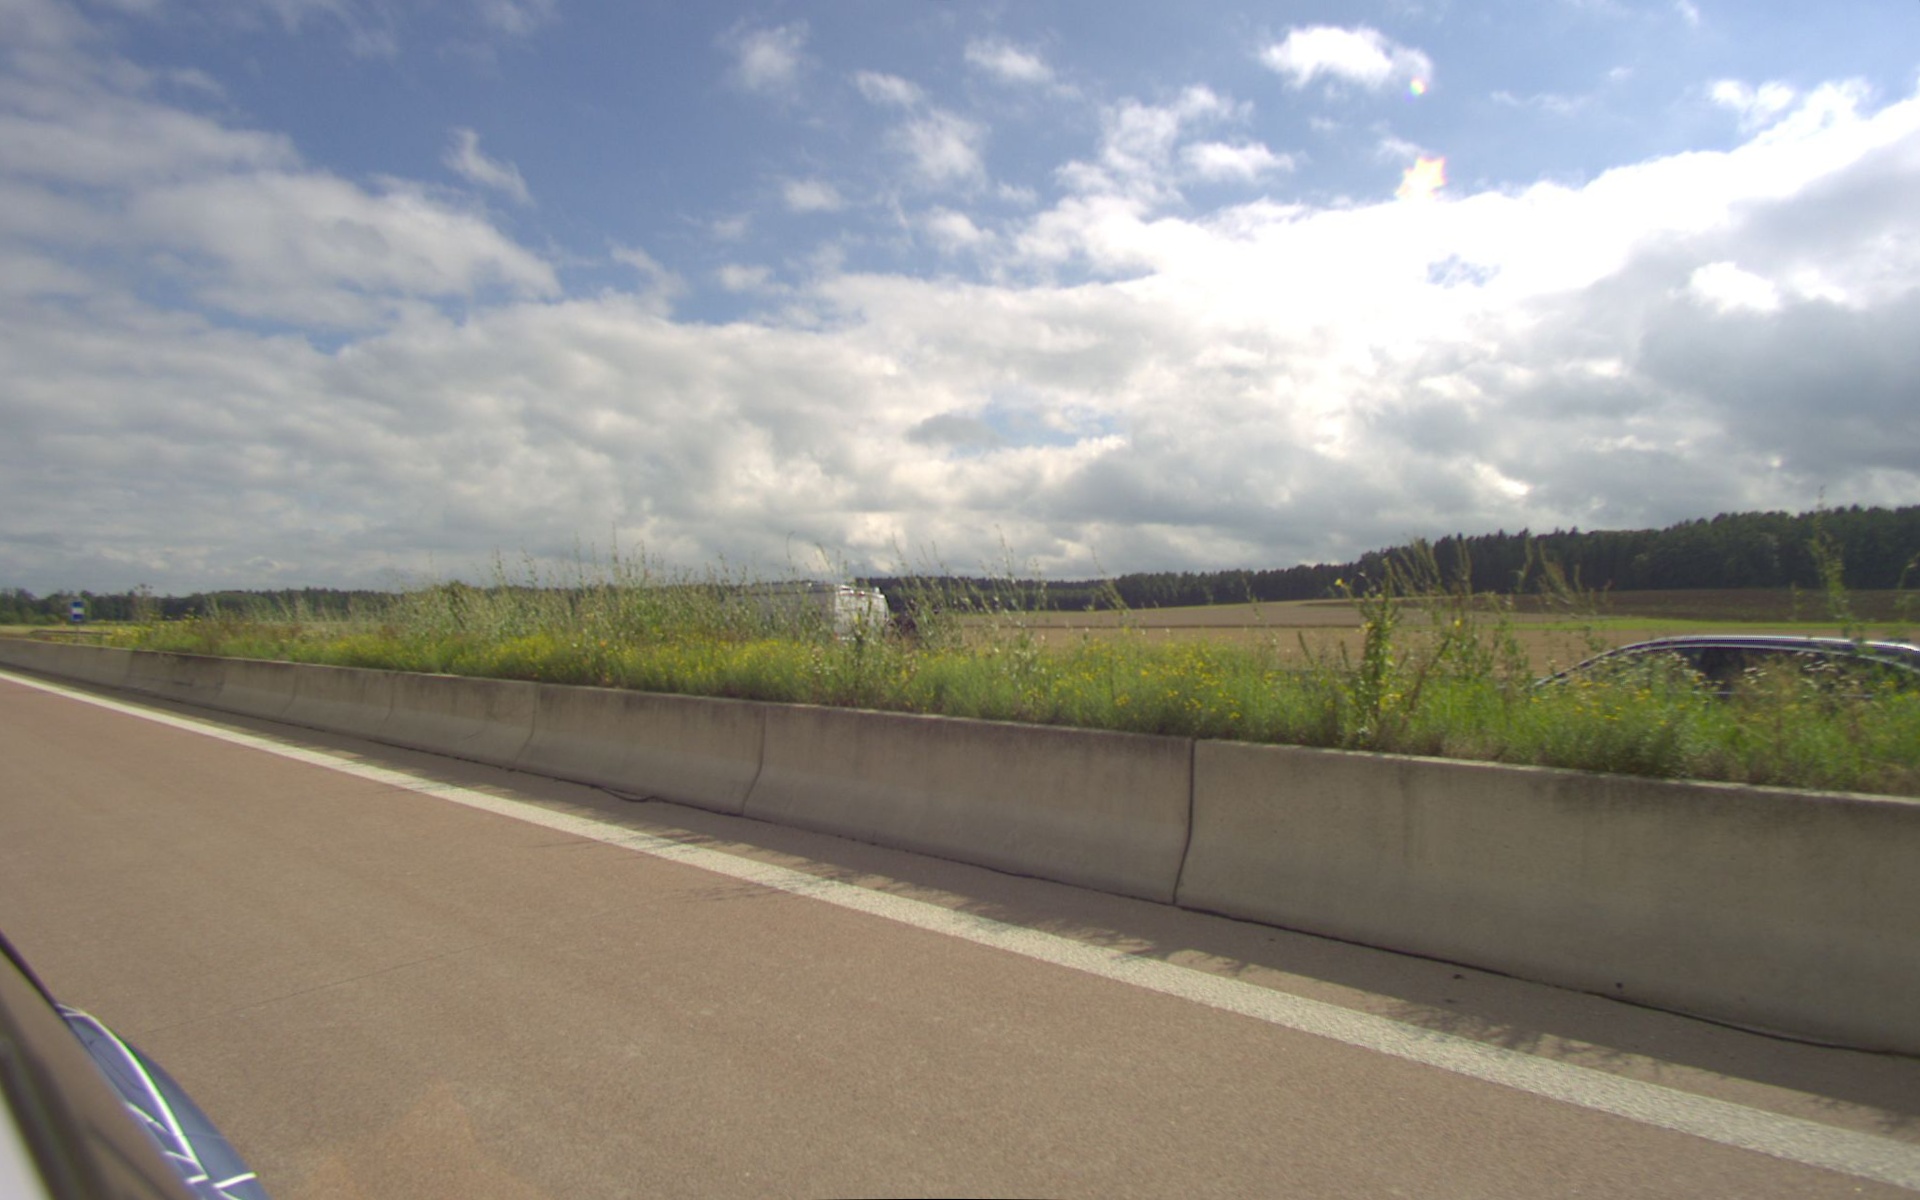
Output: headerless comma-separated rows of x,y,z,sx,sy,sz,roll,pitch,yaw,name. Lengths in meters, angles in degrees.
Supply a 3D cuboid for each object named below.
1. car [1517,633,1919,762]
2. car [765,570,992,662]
6.419,0.713,8.113,3.169,0.874,1.518,-1,-3,42,car
-2.069,0.422,24.092,5.701,1.927,2.035,-1,-3,42,car
